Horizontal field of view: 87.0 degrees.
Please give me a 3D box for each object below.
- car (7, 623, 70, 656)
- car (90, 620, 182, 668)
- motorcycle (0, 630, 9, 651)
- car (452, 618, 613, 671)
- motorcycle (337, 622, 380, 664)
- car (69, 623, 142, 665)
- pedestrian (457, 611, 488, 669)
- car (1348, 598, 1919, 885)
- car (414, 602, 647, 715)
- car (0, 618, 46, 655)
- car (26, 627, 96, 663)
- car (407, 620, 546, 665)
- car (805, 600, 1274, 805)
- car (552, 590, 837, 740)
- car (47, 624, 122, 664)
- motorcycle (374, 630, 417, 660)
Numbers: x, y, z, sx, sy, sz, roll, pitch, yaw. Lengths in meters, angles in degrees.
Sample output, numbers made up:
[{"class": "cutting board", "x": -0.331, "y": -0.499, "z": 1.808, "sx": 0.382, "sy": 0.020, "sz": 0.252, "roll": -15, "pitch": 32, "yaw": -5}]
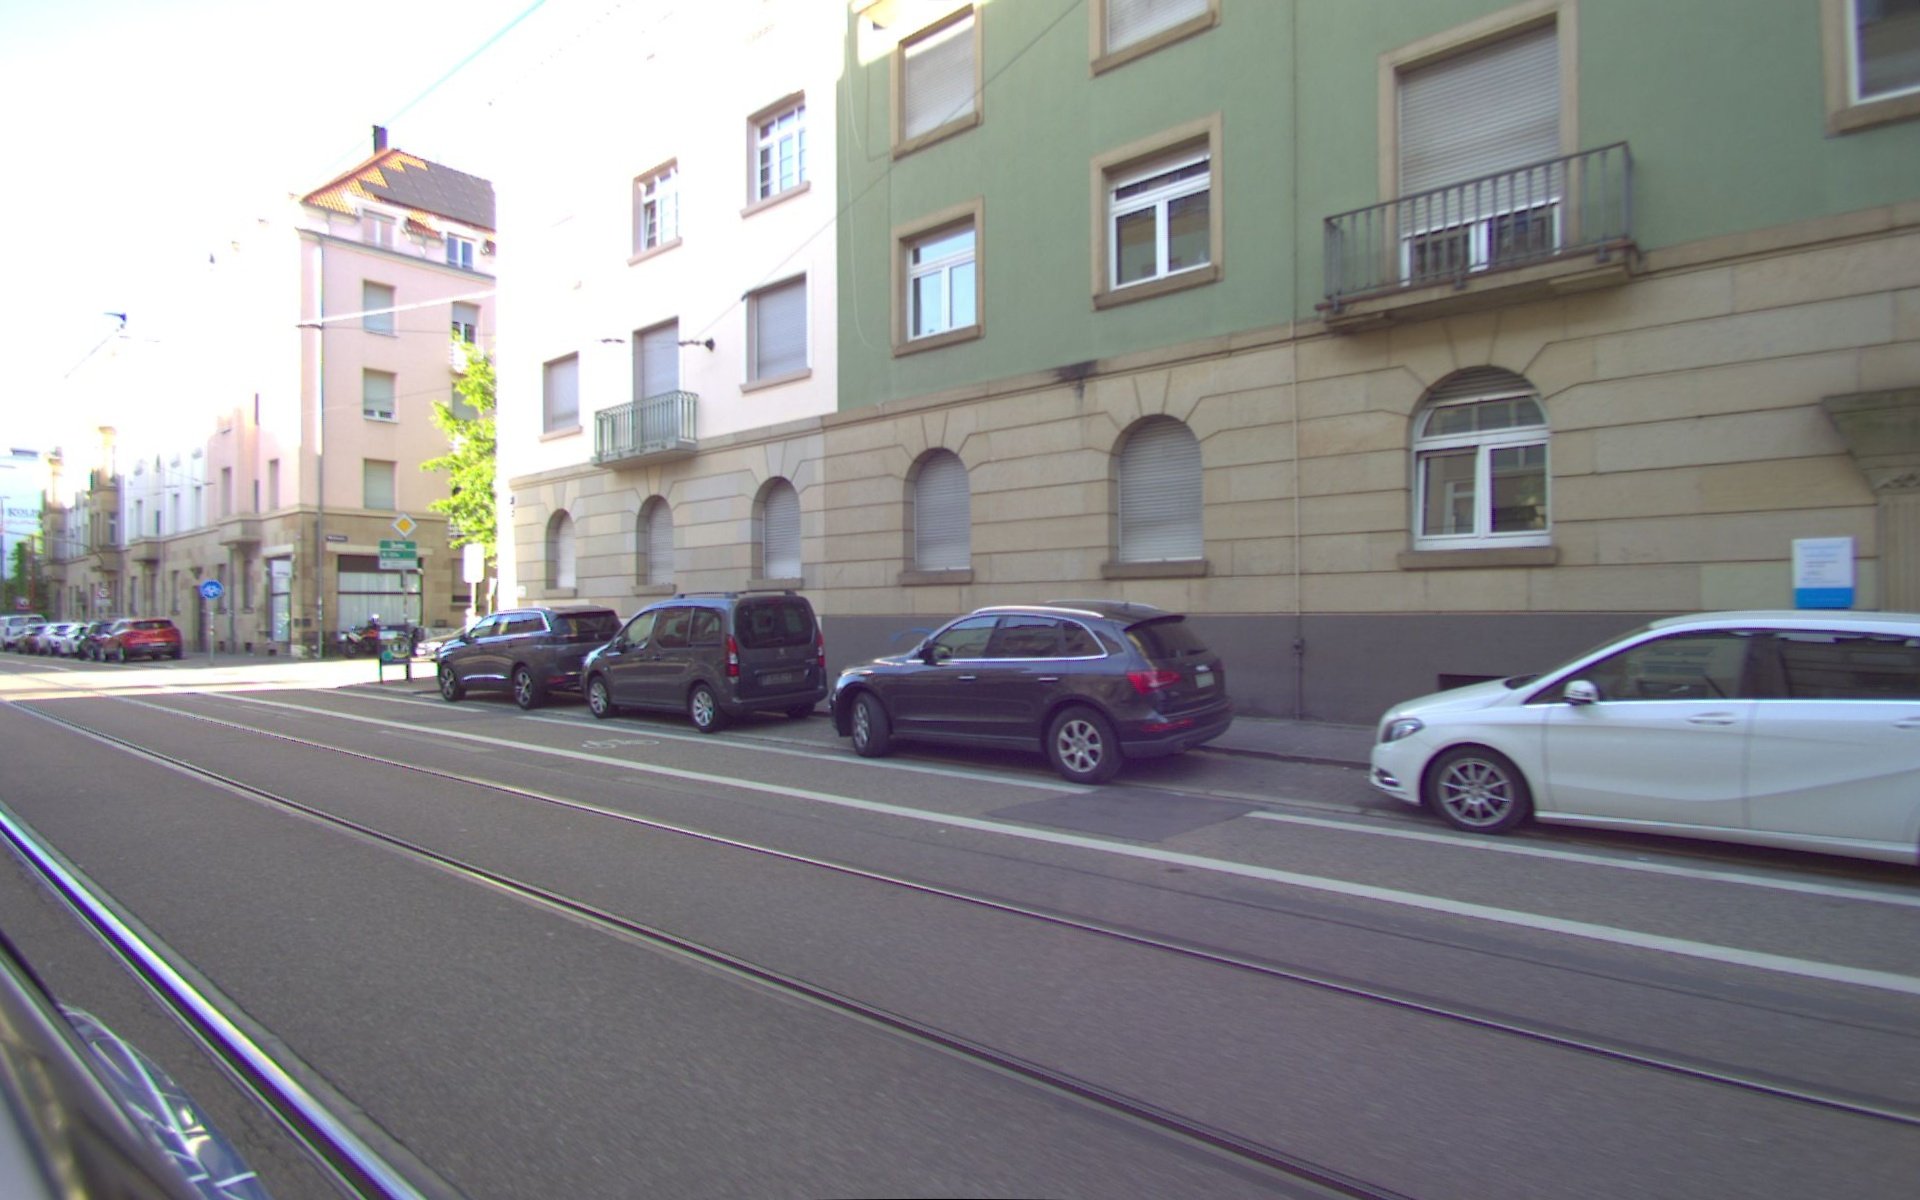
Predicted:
[{"class": "car", "x": -46.893, "y": 1.990, "z": 51.486, "sx": 4.356, "sy": 1.535, "sz": 1.765, "roll": -2, "pitch": 0, "yaw": 40}, {"class": "car", "x": -30.930, "y": 1.633, "z": 37.931, "sx": 4.392, "sy": 1.618, "sz": 1.766, "roll": -2, "pitch": 0, "yaw": 39}, {"class": "motorcycle", "x": -63.035, "y": 2.670, "z": 65.858, "sx": 0.871, "sy": 1.361, "sz": 1.963, "roll": -1, "pitch": -1, "yaw": -17}, {"class": "car", "x": -12.949, "y": 1.342, "z": 30.863, "sx": 1.781, "sy": 1.476, "sz": 4.175, "roll": -4, "pitch": -3, "yaw": 39}, {"class": "motorcycle", "x": -21.232, "y": 1.482, "z": 35.773, "sx": 0.934, "sy": 1.429, "sz": 2.032, "roll": 0, "pitch": -1, "yaw": -20}, {"class": "car", "x": -34.569, "y": 1.746, "z": 40.921, "sx": 3.017, "sy": 1.564, "sz": 1.765, "roll": -2, "pitch": 0, "yaw": 41}, {"class": "pedestrian", "x": -14.856, "y": 1.213, "z": 30.838, "sx": 0.731, "sy": 1.725, "sz": 0.600, "roll": -2, "pitch": -2, "yaw": 40}, {"class": "car", "x": 5.106, "y": 0.787, "z": 6.723, "sx": 4.386, "sy": 1.514, "sz": 1.700, "roll": -2, "pitch": 0, "yaw": 42}, {"class": "car", "x": -7.681, "y": 0.961, "z": 17.880, "sx": 4.662, "sy": 1.703, "sz": 1.766, "roll": -2, "pitch": 0, "yaw": 39}, {"class": "car", "x": -54.269, "y": 2.099, "z": 58.058, "sx": 5.247, "sy": 1.963, "sz": 1.953, "roll": -2, "pitch": 0, "yaw": 40}, {"class": "car", "x": -42.705, "y": 2.097, "z": 48.043, "sx": 4.360, "sy": 1.558, "sz": 1.755, "roll": -2, "pitch": 0, "yaw": 39}, {"class": "car", "x": -16.522, "y": 1.431, "z": 34.699, "sx": 1.746, "sy": 1.405, "sz": 3.947, "roll": -4, "pitch": -3, "yaw": 39}, {"class": "car", "x": 0.648, "y": 0.899, "z": 10.451, "sx": 4.603, "sy": 1.639, "sz": 1.766, "roll": -2, "pitch": 0, "yaw": 39}, {"class": "car", "x": -3.985, "y": 0.849, "z": 14.736, "sx": 4.526, "sy": 1.829, "sz": 1.764, "roll": -2, "pitch": 0, "yaw": 42}, {"class": "car", "x": -38.681, "y": 1.919, "z": 44.700, "sx": 4.174, "sy": 1.634, "sz": 1.766, "roll": -2, "pitch": 0, "yaw": 39}, {"class": "motorcycle", "x": -20.476, "y": 1.616, "z": 36.733, "sx": 0.549, "sy": 1.043, "sz": 2.037, "roll": -1, "pitch": -1, "yaw": -4}]
